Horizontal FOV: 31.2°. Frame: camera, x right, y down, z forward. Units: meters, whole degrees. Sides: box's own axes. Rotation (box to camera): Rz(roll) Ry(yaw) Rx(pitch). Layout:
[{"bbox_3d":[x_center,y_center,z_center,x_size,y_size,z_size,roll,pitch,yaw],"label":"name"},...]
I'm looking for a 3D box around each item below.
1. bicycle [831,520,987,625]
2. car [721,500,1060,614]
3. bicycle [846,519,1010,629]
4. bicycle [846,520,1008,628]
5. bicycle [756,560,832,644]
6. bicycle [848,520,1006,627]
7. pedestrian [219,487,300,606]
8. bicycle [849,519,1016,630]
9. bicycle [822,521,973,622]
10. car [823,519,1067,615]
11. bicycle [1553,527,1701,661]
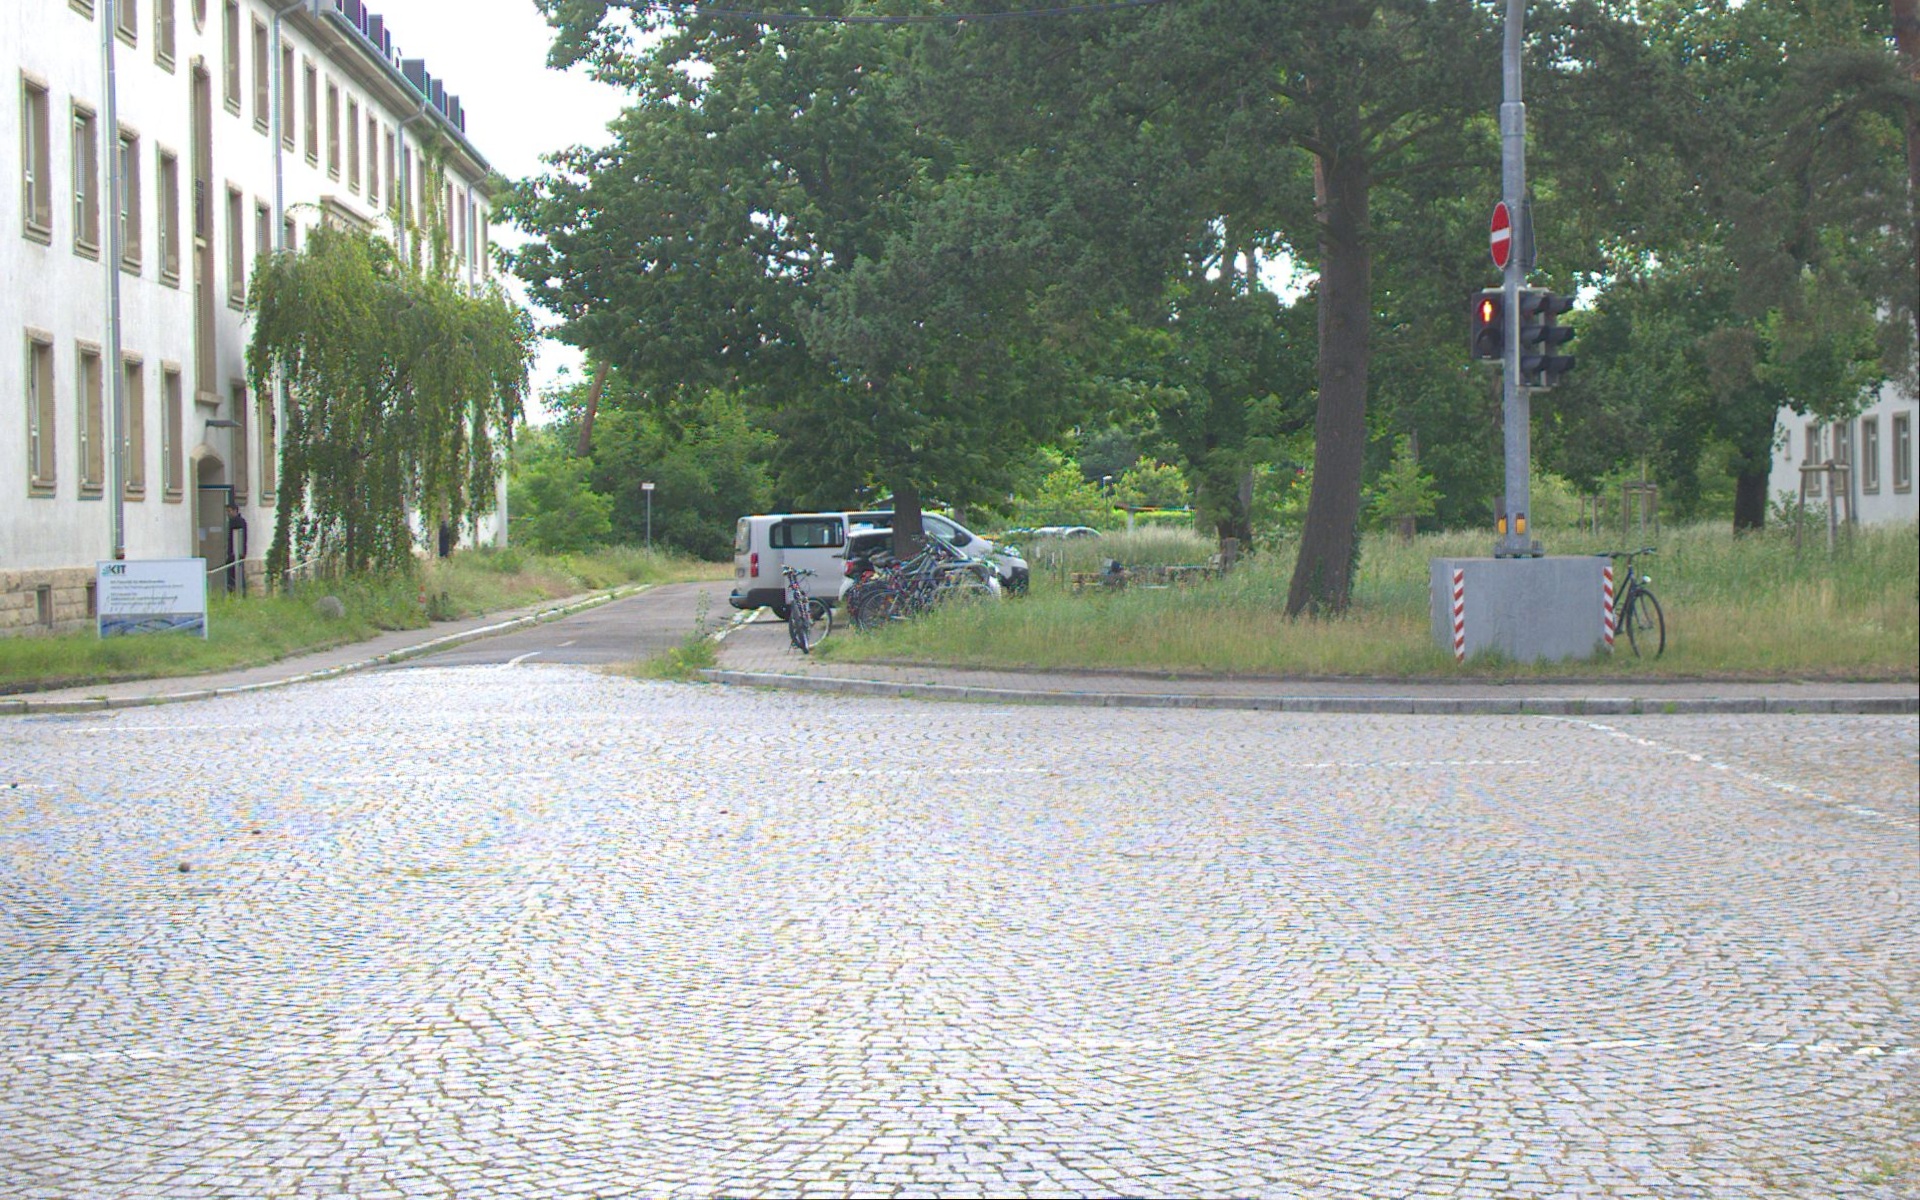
[{"bbox_3d":[-0.686,-0.376,46.361,2.070,1.373,0.620,-1,1,0],"label":"bicycle"},{"bbox_3d":[-1.263,-0.784,61.351,5.690,1.904,2.231,-1,1,-13],"label":"car"},{"bbox_3d":[-0.408,-0.336,44.144,2.070,1.373,0.620,-1,1,0],"label":"bicycle"},{"bbox_3d":[-0.428,-0.346,44.769,2.070,1.373,0.620,-1,1,0],"label":"bicycle"},{"bbox_3d":[-1.996,0.008,41.661,0.618,0.960,2.076,-1,1,5],"label":"bicycle"},{"bbox_3d":[-0.440,-0.358,45.565,2.070,1.373,0.620,-1,1,0],"label":"bicycle"},{"bbox_3d":[-11.980,-0.918,58.810,1.087,2.007,1.021,-1,1,4],"label":"pedestrian"},{"bbox_3d":[-0.348,-0.325,43.474,2.070,1.373,0.620,-1,1,0],"label":"bicycle"},{"bbox_3d":[-0.861,-0.399,47.844,2.070,1.373,0.620,-1,1,0],"label":"bicycle"},{"bbox_3d":[-0.283,-0.575,57.997,3.932,1.539,2.000,-1,1,-6],"label":"car"},{"bbox_3d":[6.047,-0.072,31.290,0.908,1.173,1.874,-1,1,-2],"label":"bicycle"}]
